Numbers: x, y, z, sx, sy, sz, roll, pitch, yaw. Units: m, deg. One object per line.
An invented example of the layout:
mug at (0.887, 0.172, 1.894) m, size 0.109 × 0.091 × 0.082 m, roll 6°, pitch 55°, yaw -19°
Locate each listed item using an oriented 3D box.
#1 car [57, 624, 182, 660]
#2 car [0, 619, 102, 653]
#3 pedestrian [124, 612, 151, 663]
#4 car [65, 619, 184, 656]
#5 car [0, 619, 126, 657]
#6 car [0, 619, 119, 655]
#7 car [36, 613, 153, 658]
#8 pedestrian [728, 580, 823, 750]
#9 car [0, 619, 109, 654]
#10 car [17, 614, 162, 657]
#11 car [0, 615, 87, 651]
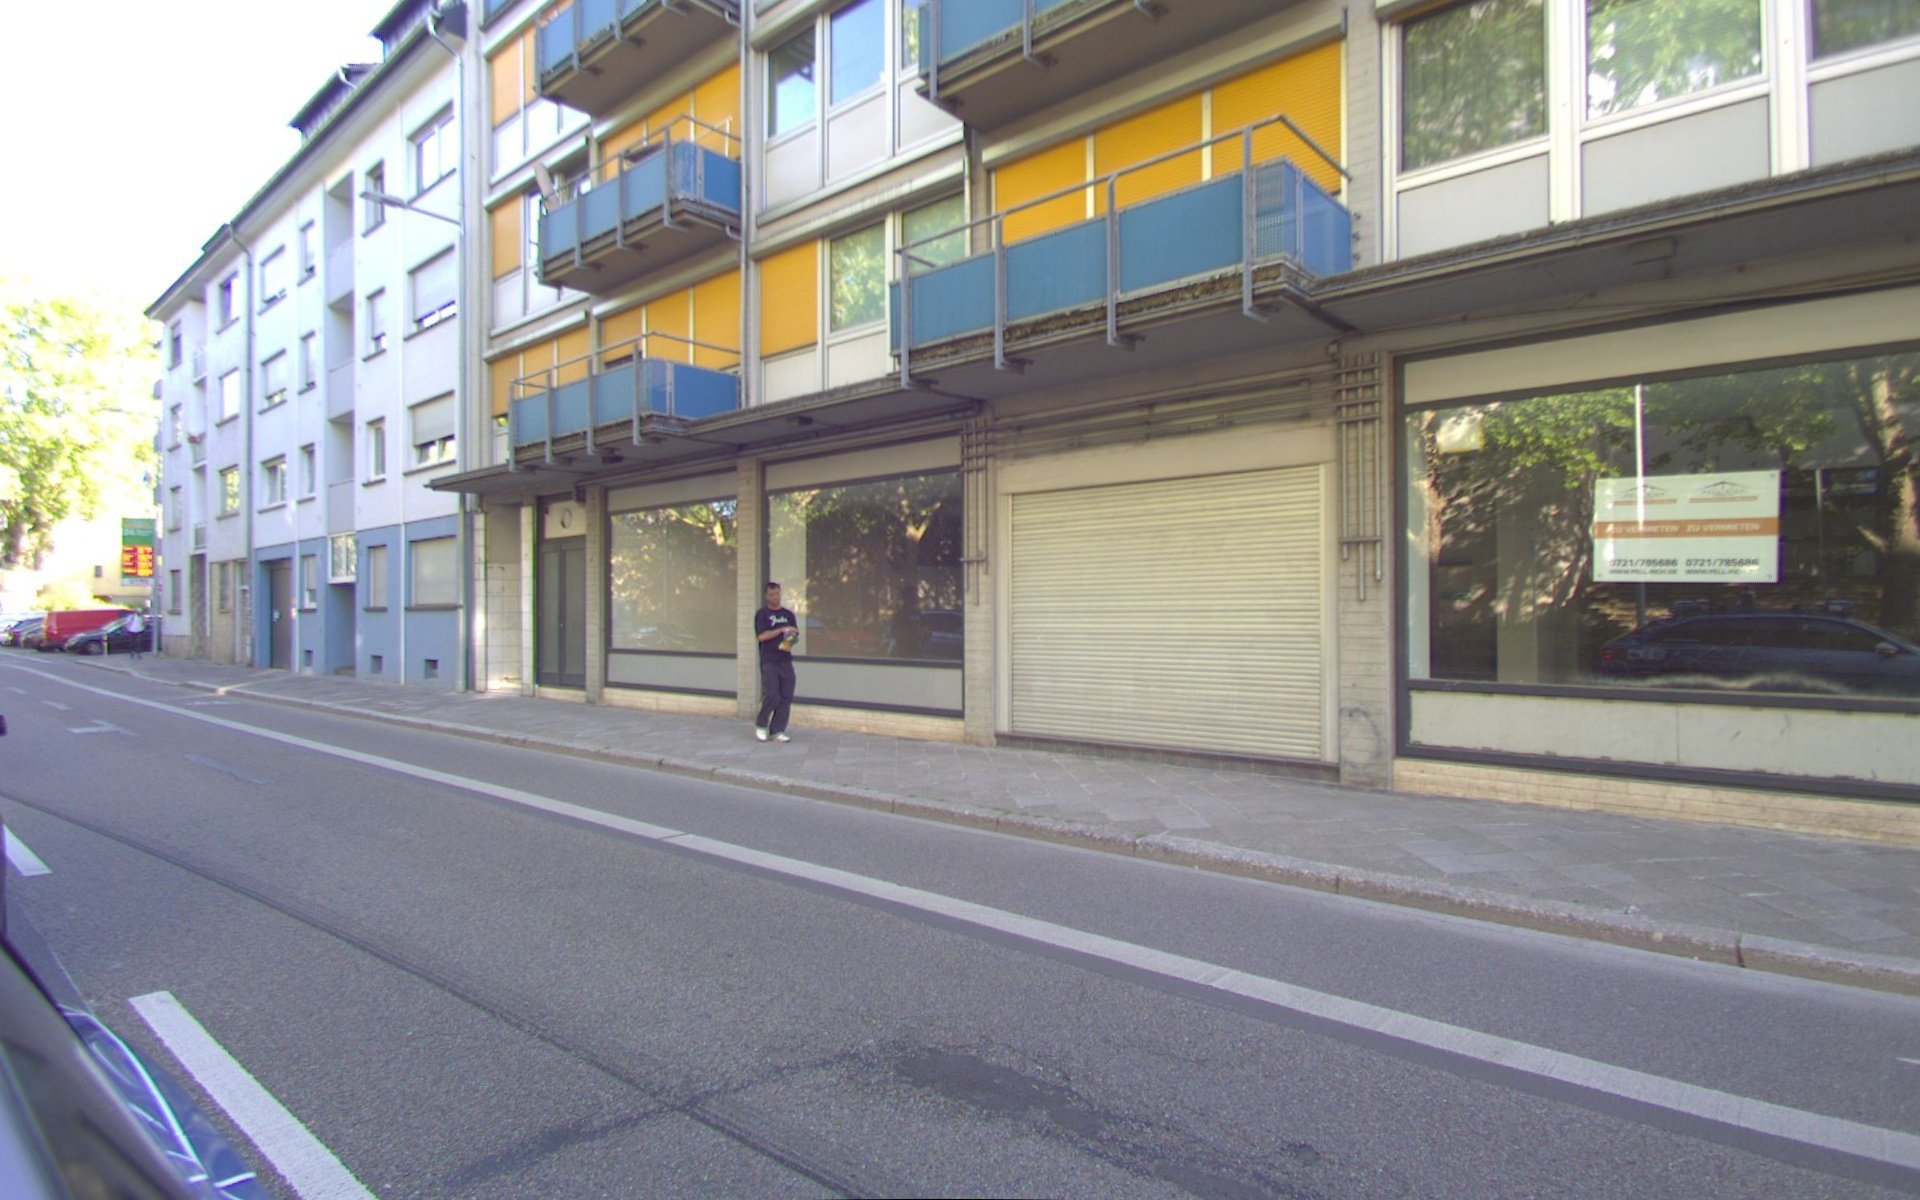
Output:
car at (-36.554, 1.785, 44.082) m, size 1.742 × 1.431 × 3.946 m, roll -1°, pitch -1°, yaw 41°
car at (-55.972, 2.155, 61.991) m, size 2.314 × 1.952 × 4.978 m, roll -1°, pitch -1°, yaw 41°
pedestrian at (-28.844, 1.299, 35.472) m, size 0.756 × 1.760 × 0.600 m, roll -1°, pitch 0°, yaw 41°
car at (-37.879, 1.675, 45.947) m, size 1.742 × 1.572 × 3.946 m, roll -1°, pitch -1°, yaw 41°
car at (-50.299, 2.083, 56.835) m, size 2.186 × 1.952 × 5.077 m, roll -1°, pitch -1°, yaw 41°
car at (-52.238, 2.106, 58.723) m, size 2.159 × 1.952 × 4.990 m, roll -1°, pitch -1°, yaw 41°
car at (-40.591, 1.631, 47.521) m, size 1.866 × 1.952 × 3.946 m, roll -1°, pitch -1°, yaw 41°
pedestrian at (-2.024, 0.684, 11.115) m, size 0.793 × 1.785 × 0.655 m, roll -1°, pitch -1°, yaw 41°
car at (-54.124, 2.127, 60.360) m, size 2.082 × 1.952 × 4.928 m, roll -1°, pitch -1°, yaw 41°
car at (-42.692, 1.698, 49.719) m, size 2.256 × 1.995 × 5.156 m, roll -1°, pitch -1°, yaw 41°
car at (-59.346, 2.094, 64.717) m, size 2.186 × 2.164 × 5.077 m, roll -1°, pitch -1°, yaw 41°
